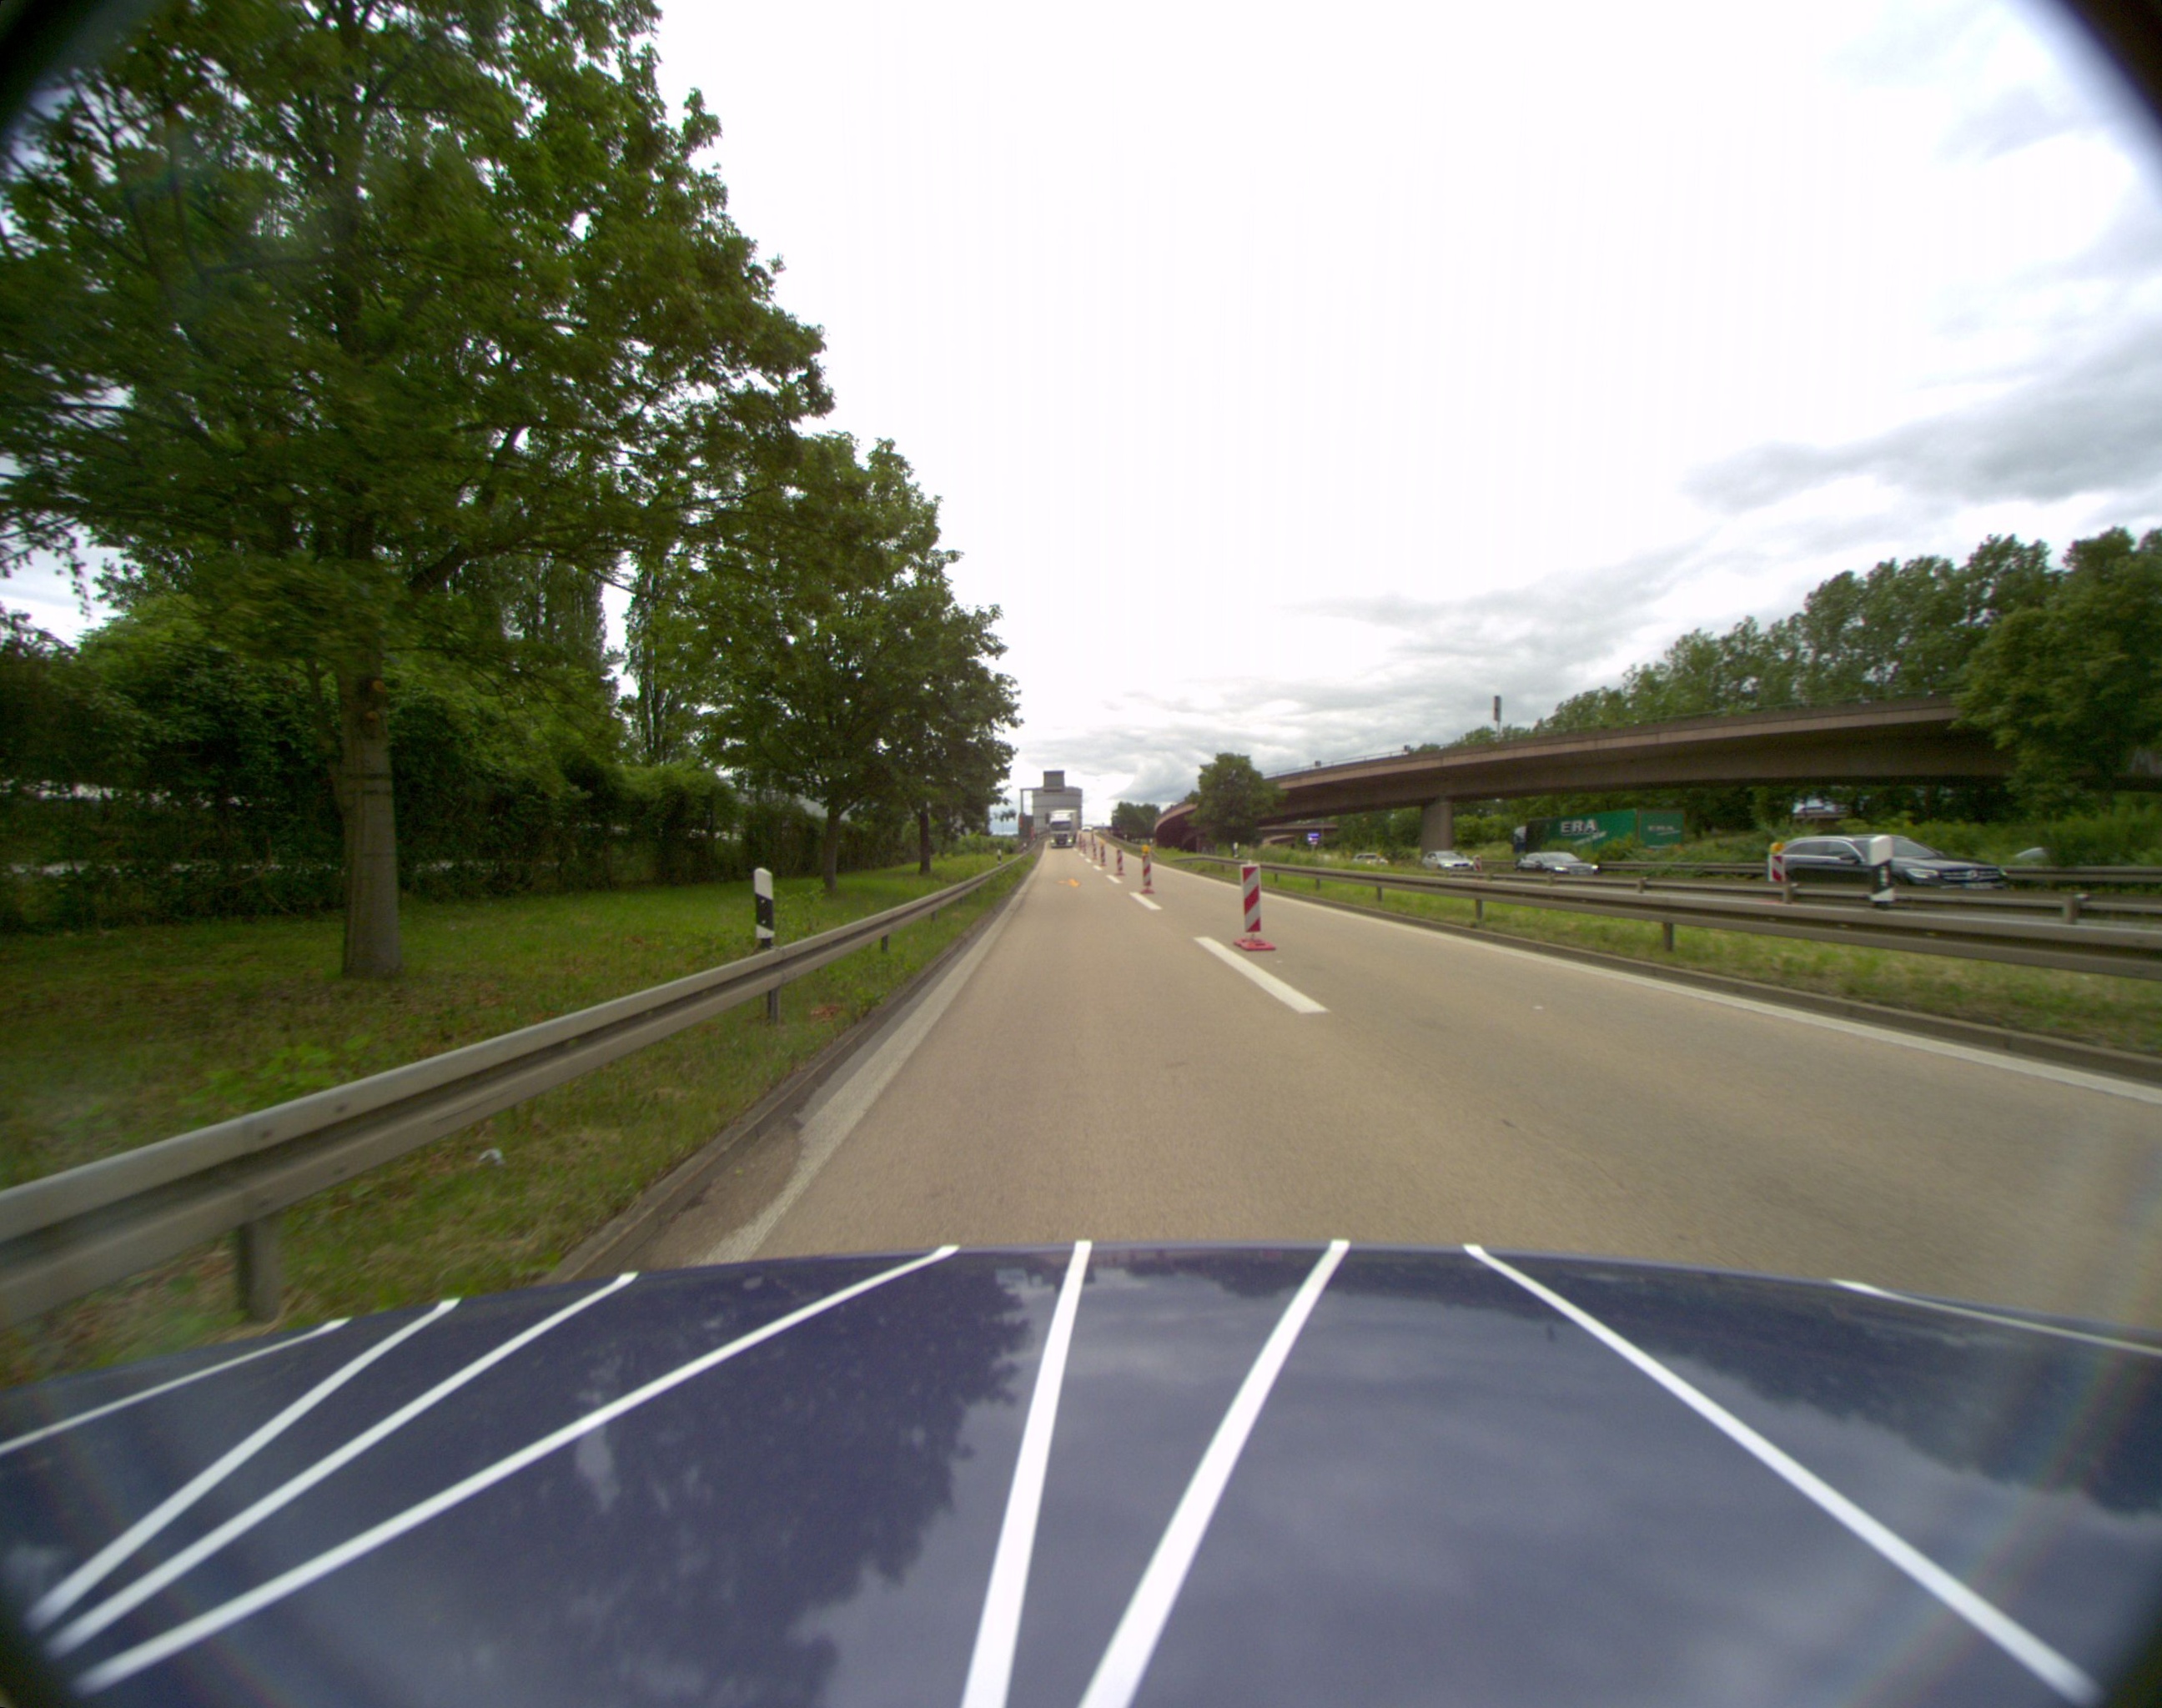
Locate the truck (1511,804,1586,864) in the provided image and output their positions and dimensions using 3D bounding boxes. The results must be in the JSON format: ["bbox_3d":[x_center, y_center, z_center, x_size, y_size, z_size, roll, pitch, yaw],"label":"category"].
[{"bbox_3d":[34.750,-1.442,56.733,2.758,4.247,5.505,-1,1,7],"label":"truck"}]

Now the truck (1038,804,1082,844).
[{"bbox_3d":[-2.337,-3.356,86.127,4.162,4.279,5.967,-1,1,6],"label":"truck"}]

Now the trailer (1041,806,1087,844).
[{"bbox_3d":[-1.878,-3.354,92.538,4.123,4.220,13.894,-1,1,5],"label":"trailer"}]

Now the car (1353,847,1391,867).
[{"bbox_3d":[24.198,0.224,63.325,2.041,1.605,4.296,-1,1,8],"label":"car"}]

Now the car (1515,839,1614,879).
[{"bbox_3d":[21.128,0.183,33.442,2.041,1.605,4.296,-1,1,8],"label":"car"}]

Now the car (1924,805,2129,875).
[{"bbox_3d":[30.001,-0.431,24.346,1.997,2.002,4.003,-1,1,11],"label":"car"}]

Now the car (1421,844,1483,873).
[{"bbox_3d":[22.162,0.241,45.582,2.041,1.605,4.296,-1,1,8],"label":"car"}]

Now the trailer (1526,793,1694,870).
[{"bbox_3d":[33.944,-1.354,49.866,2.777,4.269,13.985,-1,1,7],"label":"trailer"}]

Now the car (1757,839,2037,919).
[{"bbox_3d":[18.720,0.493,17.839,2.041,1.605,4.580,-1,1,8],"label":"car"}]
